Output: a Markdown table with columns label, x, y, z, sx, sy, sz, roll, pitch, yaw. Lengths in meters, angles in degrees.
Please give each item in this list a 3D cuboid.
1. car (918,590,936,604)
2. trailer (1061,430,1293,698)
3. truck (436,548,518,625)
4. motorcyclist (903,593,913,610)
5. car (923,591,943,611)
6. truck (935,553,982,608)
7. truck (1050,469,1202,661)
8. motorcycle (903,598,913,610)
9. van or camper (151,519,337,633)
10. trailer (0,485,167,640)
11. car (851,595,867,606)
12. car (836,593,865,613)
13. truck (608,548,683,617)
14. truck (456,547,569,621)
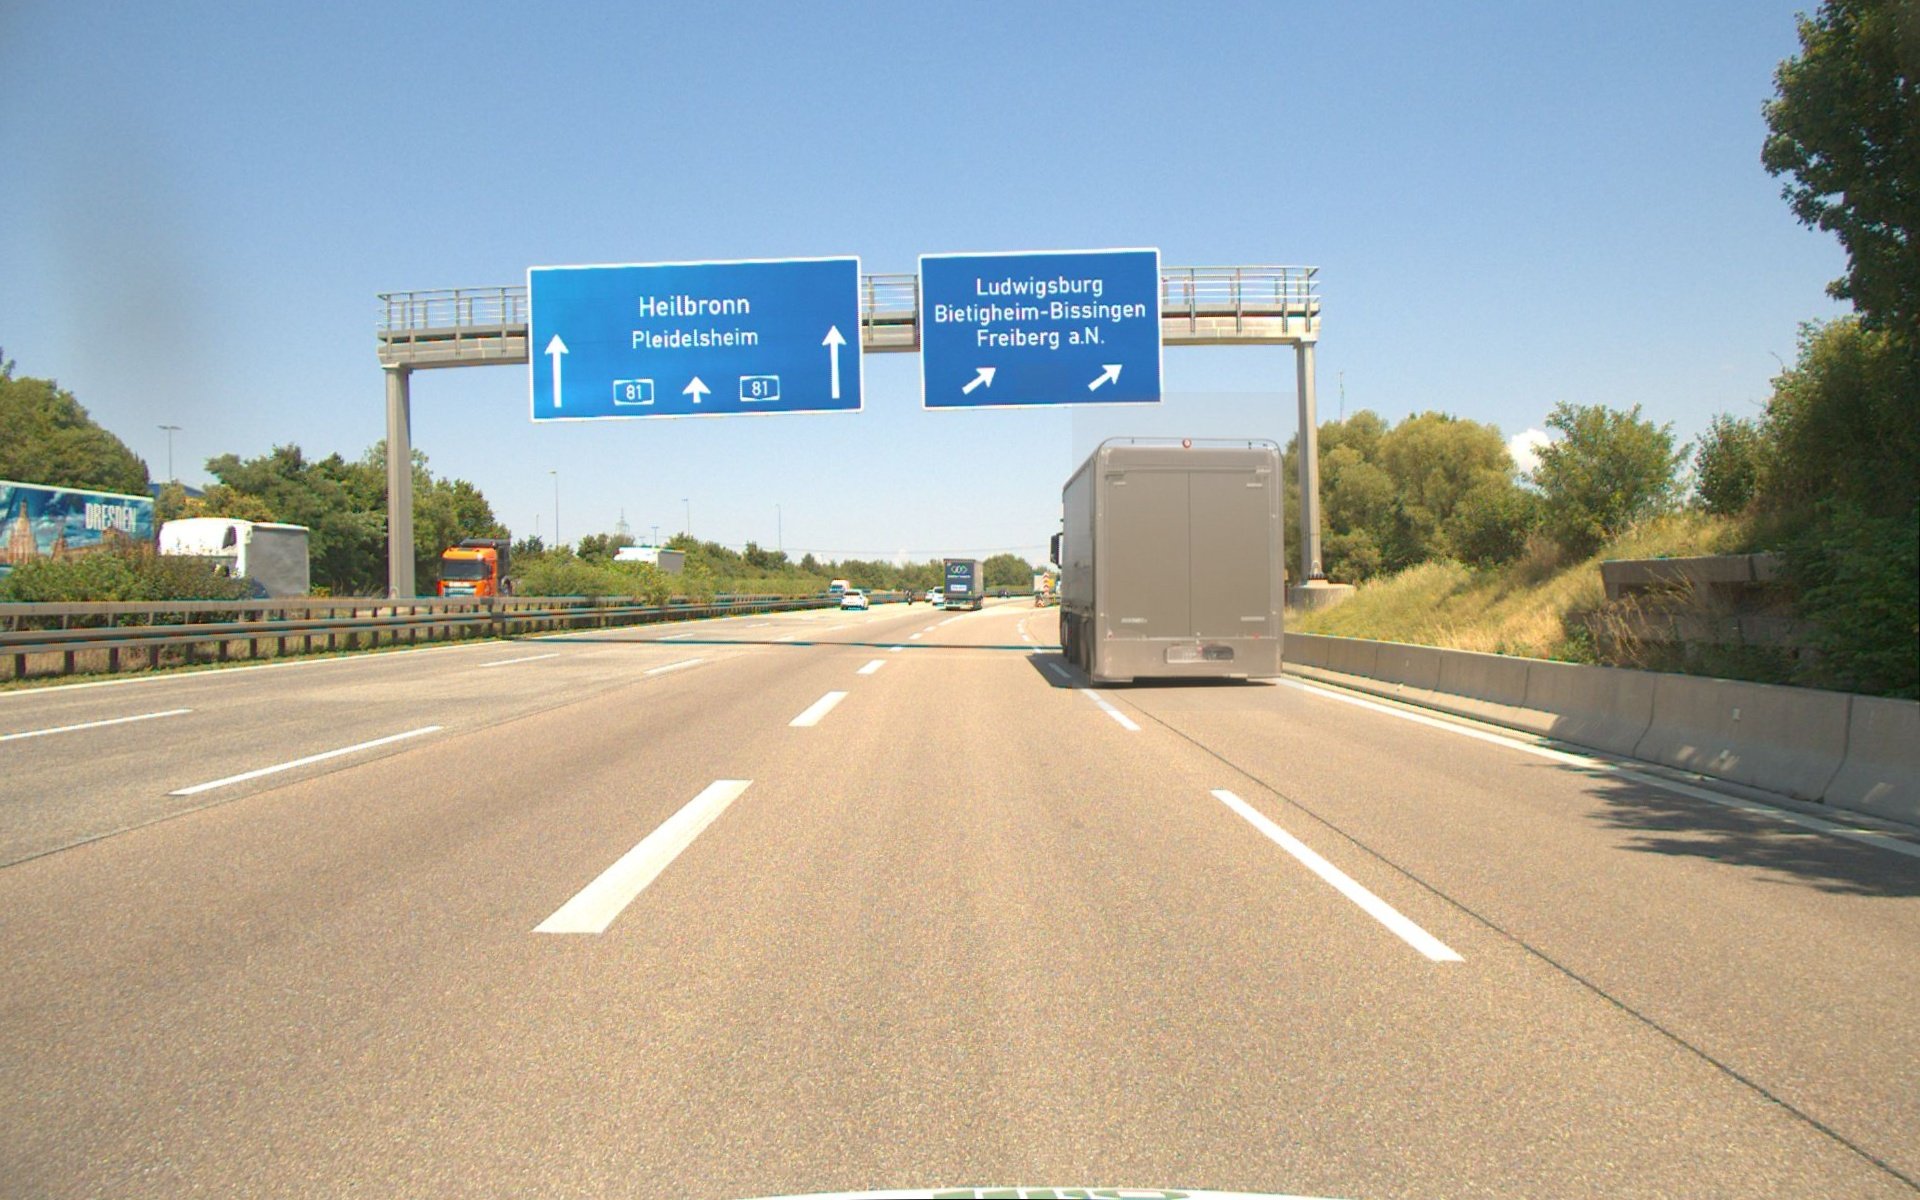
| label | x | y | z | sx | sy | sz | roll | pitch | yaw |
| --- | --- | --- | --- | --- | --- | --- | --- | --- | --- |
| car | -3.825 | -0.323 | 194.099 | 1.837 | 1.466 | 5.127 | 0 | -1 | 2 |
| trailer | 3.698 | -0.689 | 31.451 | 2.868 | 4.085 | 12.040 | -1 | 1 | 0 |
| truck | -25.202 | -0.707 | 86.540 | 2.696 | 3.860 | 5.103 | 0 | 0 | 1 |
| motorcyclist | -5.167 | 0.145 | 164.649 | 0.875 | 1.625 | 1.299 | 0 | 1 | 1 |
| car | -2.699 | 0.126 | 166.490 | 1.891 | 1.884 | 4.692 | -1 | -2 | 1 |
| truck | -0.093 | -1.575 | 137.424 | 3.670 | 4.345 | 14.496 | 0 | 0 | 0 |
| truck | 3.761 | -0.845 | 39.208 | 2.868 | 4.085 | 7.584 | -1 | 1 | 0 |
| motorcycle | -5.171 | 0.387 | 164.705 | 0.894 | 1.108 | 2.850 | 0 | 0 | 0 |
| van or camper | -22.177 | -0.714 | 51.754 | 2.424 | 3.277 | 7.822 | 0 | 0 | 0 |
| trailer | -25.601 | -0.979 | 44.163 | 1.952 | 3.991 | 14.003 | 0 | 0 | 1 |
| car | -13.362 | 0.029 | 218.642 | 1.745 | 1.466 | 4.670 | 0 | 0 | 2 |
| car | -8.182 | 0.221 | 123.921 | 1.745 | 1.466 | 4.669 | 0 | 0 | 1 |
| truck | -20.604 | -1.110 | 109.069 | 2.696 | 4.281 | 10.405 | 0 | 0 | 1 |
| truck | -25.012 | -0.852 | 93.142 | 2.696 | 3.860 | 12.331 | 0 | 0 | 1 |
